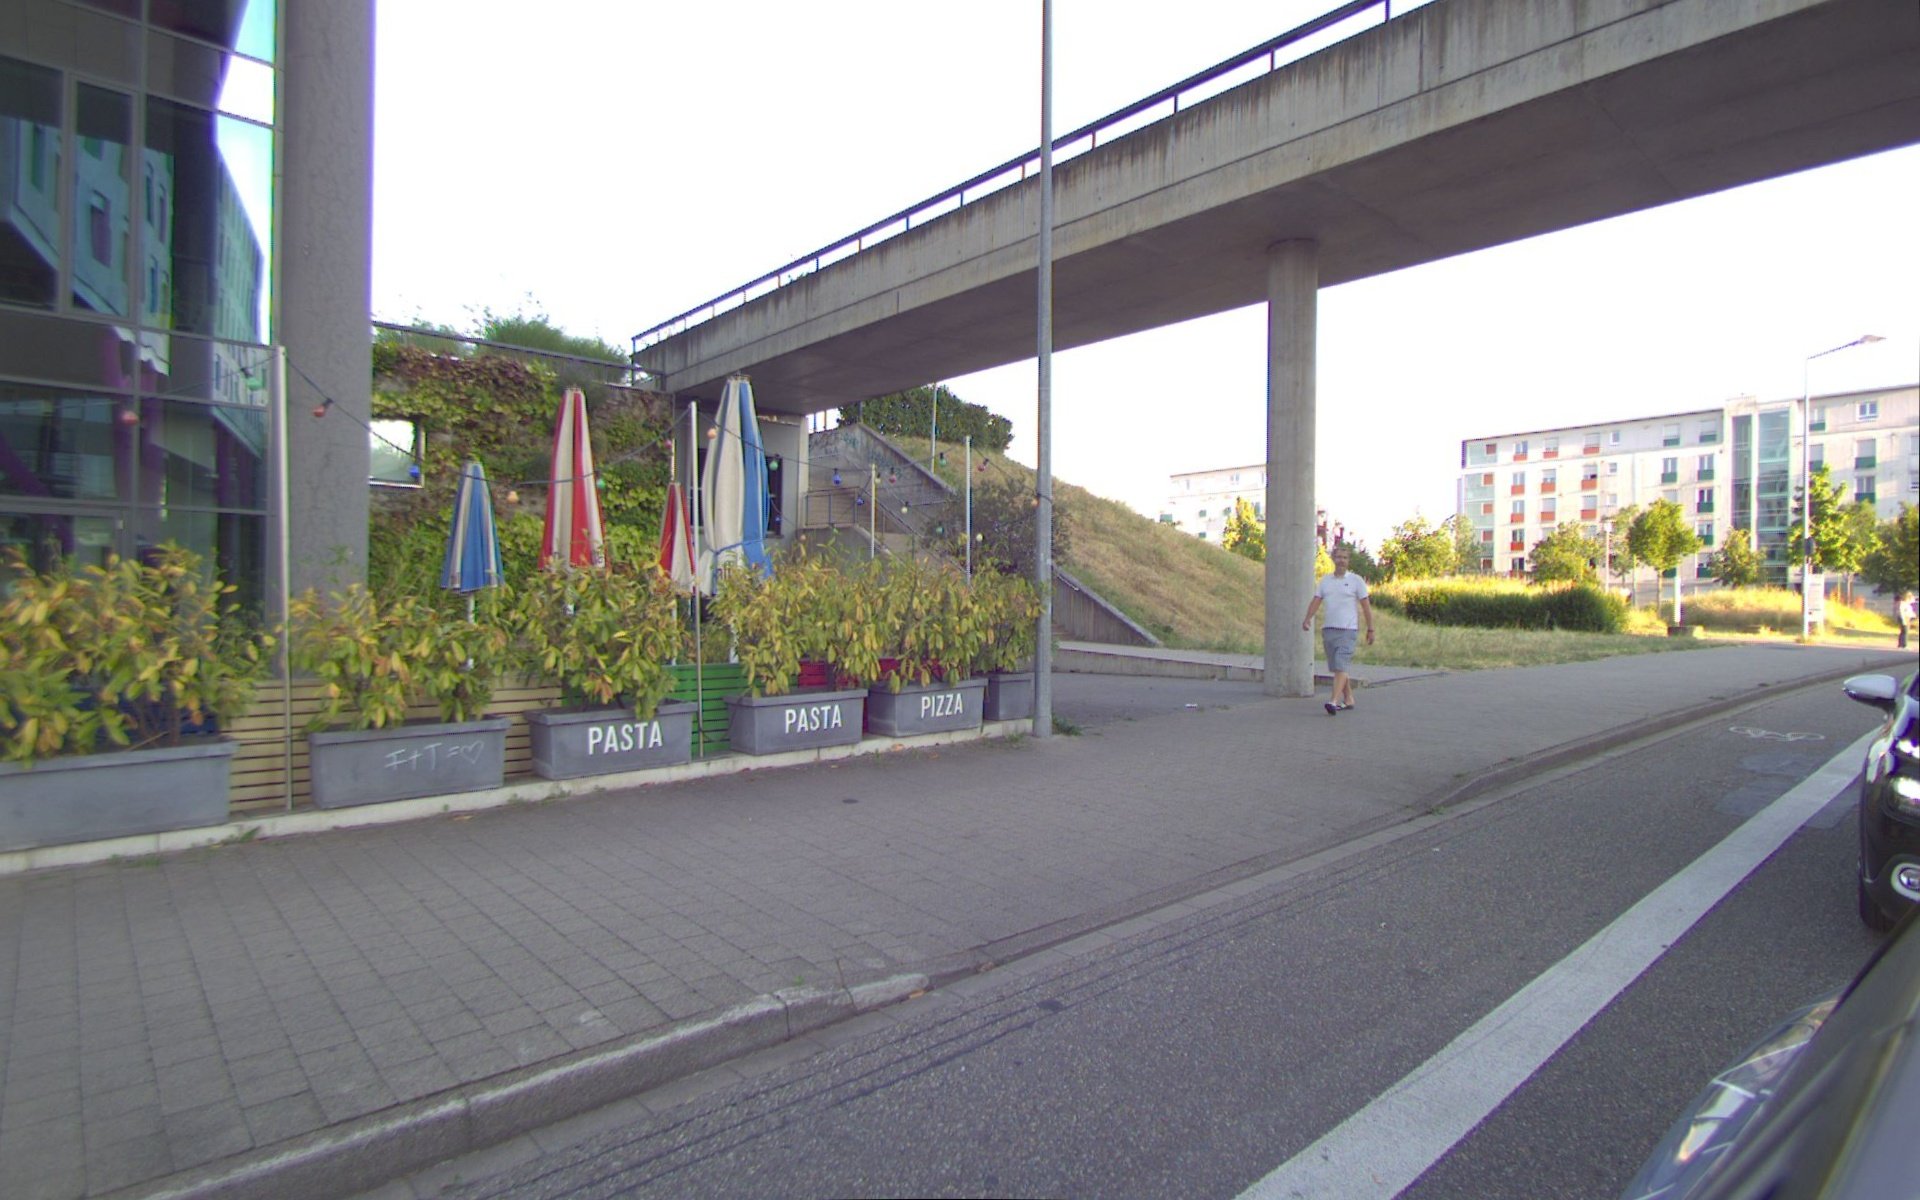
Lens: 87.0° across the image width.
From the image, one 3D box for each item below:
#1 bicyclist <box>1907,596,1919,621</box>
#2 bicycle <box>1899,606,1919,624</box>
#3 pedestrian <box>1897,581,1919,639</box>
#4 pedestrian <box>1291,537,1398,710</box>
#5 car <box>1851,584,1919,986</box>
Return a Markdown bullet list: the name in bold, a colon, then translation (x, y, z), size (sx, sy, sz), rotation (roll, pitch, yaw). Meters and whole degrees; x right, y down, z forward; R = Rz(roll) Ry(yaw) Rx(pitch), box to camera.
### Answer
- **bicyclist**: translation (62.310, 0.547, 65.635), size (0.921, 1.615, 1.061), rotation (0, 0, 19)
- **bicycle**: translation (62.601, 0.981, 65.924), size (0.889, 1.163, 3.474), rotation (0, 0, 21)
- **pedestrian**: translation (27.628, 0.290, 29.180), size (0.844, 1.650, 0.737), rotation (1, 2, -40)
- **pedestrian**: translation (4.105, 0.232, 10.798), size (0.890, 1.746, 0.736), rotation (1, 0, -40)
- **car**: translation (5.468, 0.694, 4.509), size (3.930, 1.482, 1.738), rotation (0, 0, -41)
